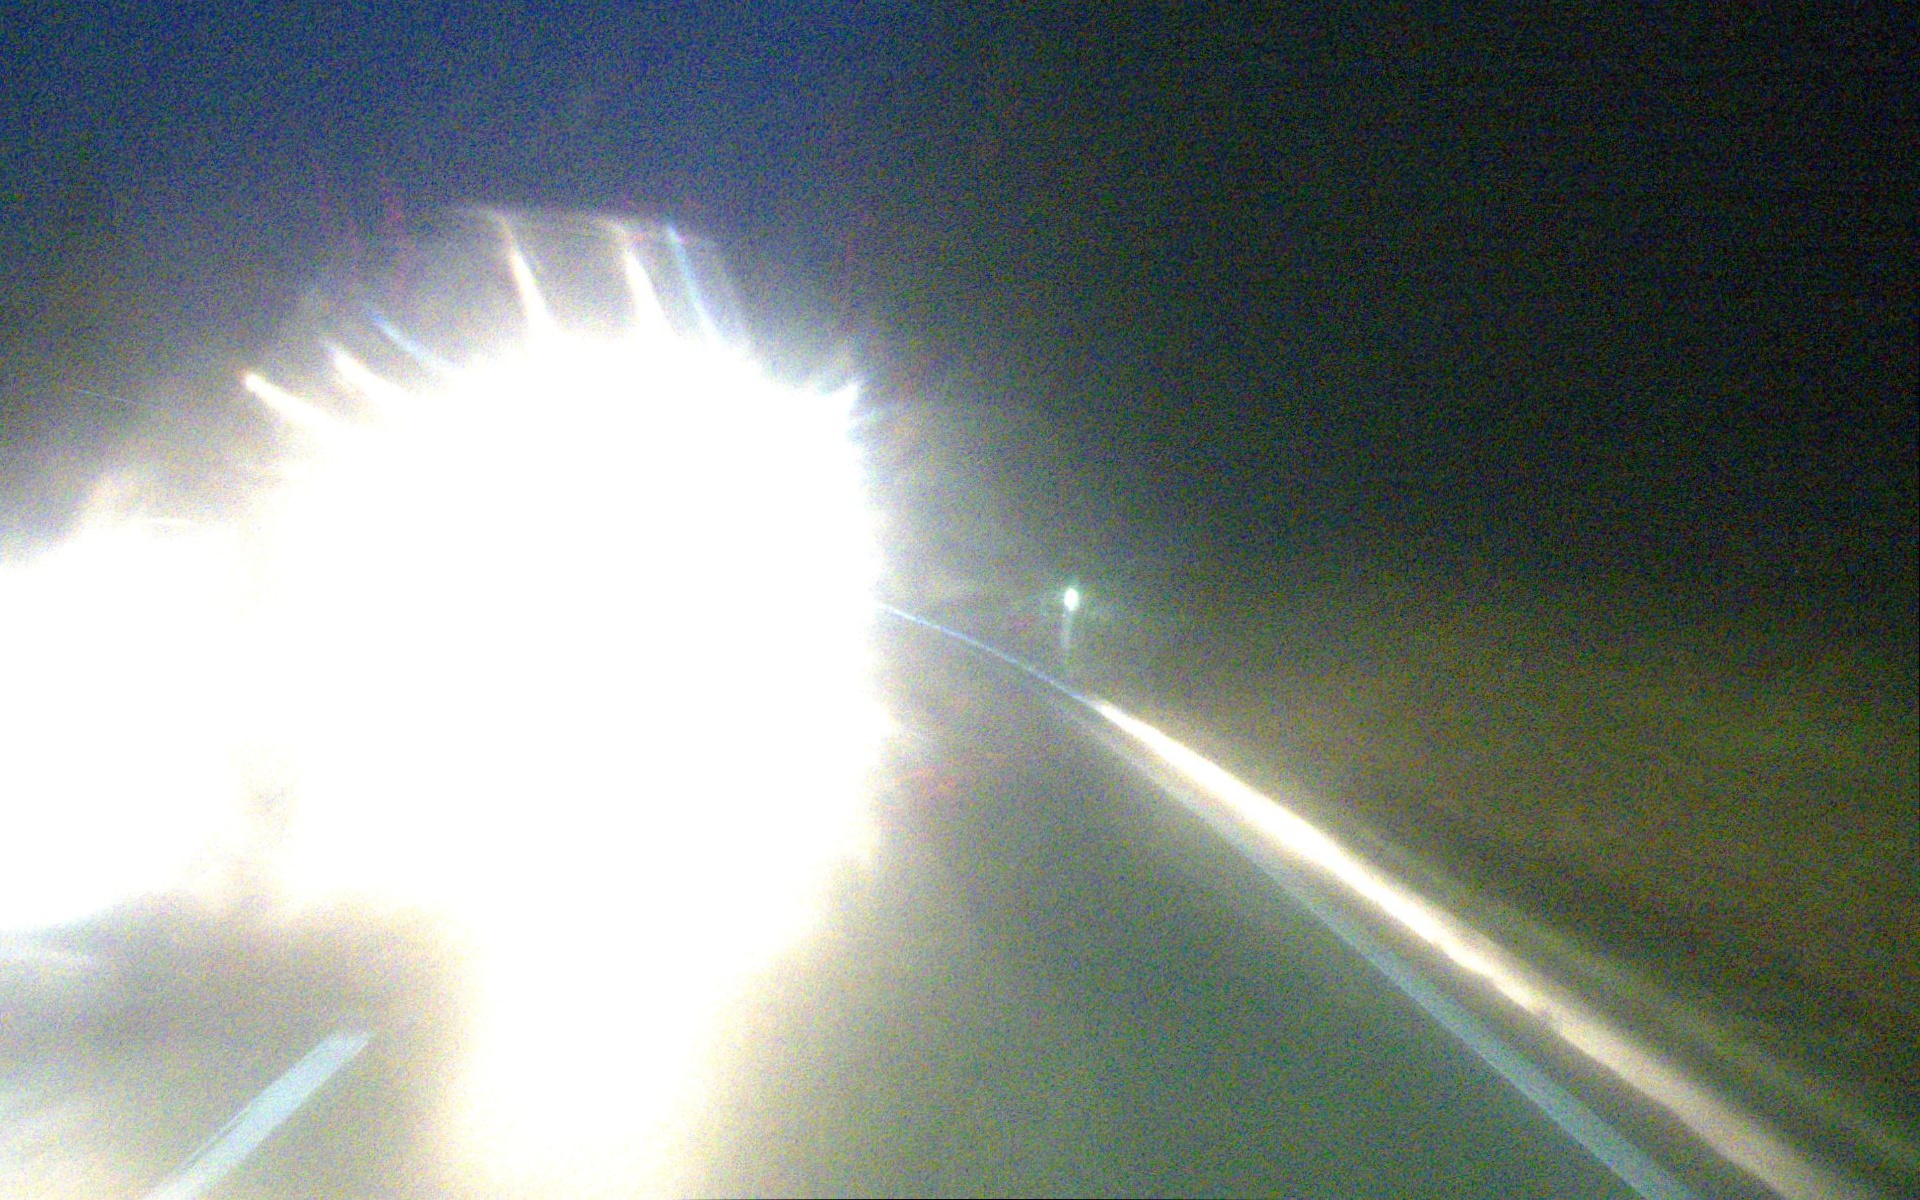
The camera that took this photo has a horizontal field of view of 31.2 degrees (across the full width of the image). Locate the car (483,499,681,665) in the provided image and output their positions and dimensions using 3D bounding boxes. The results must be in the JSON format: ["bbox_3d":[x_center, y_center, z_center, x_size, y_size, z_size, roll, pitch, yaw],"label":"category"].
[{"bbox_3d":[-4.471,-0.226,41.178,1.993,1.816,4.000,2,1,-2],"label":"car"}]

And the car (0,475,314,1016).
[{"bbox_3d":[-3.590,0.401,12.661,1.771,1.669,4.055,2,1,-3],"label":"car"}]
